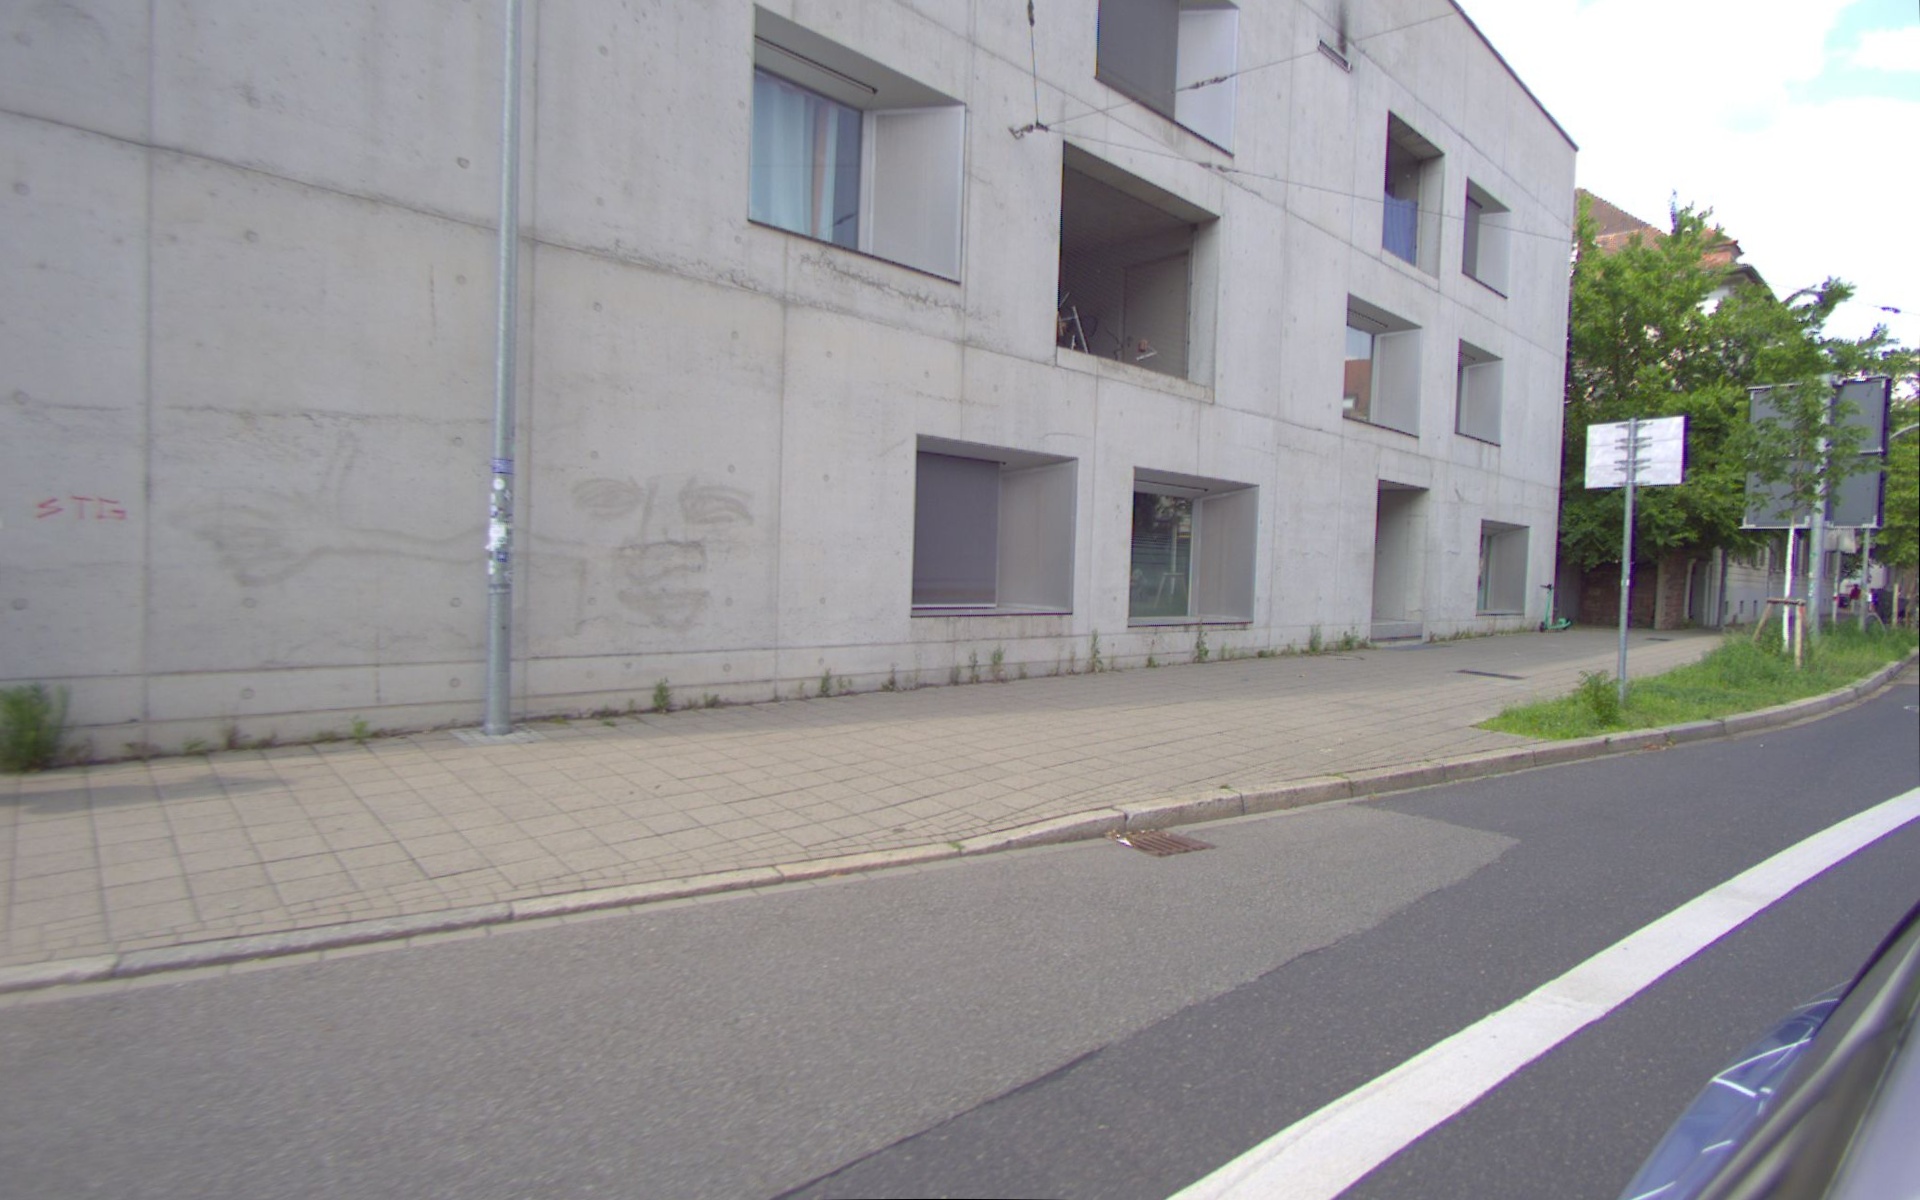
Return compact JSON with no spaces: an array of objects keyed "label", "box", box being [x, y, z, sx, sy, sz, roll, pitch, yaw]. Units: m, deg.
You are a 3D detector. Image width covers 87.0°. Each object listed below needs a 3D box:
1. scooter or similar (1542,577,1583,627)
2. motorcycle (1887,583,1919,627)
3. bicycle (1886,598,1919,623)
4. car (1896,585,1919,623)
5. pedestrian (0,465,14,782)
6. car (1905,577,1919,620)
[{"label":"scooter or similar","box":[14.799,0.045,24.851,1.125,1.195,0.324,0,2,-31]},{"label":"motorcycle","box":[35.151,0.187,37.155,2.392,1.560,0.984,1,3,-33]},{"label":"bicycle","box":[37.543,0.423,39.642,0.679,0.913,1.780,0,3,-40]},{"label":"car","box":[40.115,0.176,41.884,4.710,1.516,1.709,0,3,-44]},{"label":"pedestrian","box":[-5.503,0.140,5.162,0.731,1.745,0.689,3,2,-18]},{"label":"car","box":[46.218,-0.040,47.863,4.869,1.964,1.897,0,3,-44]}]
